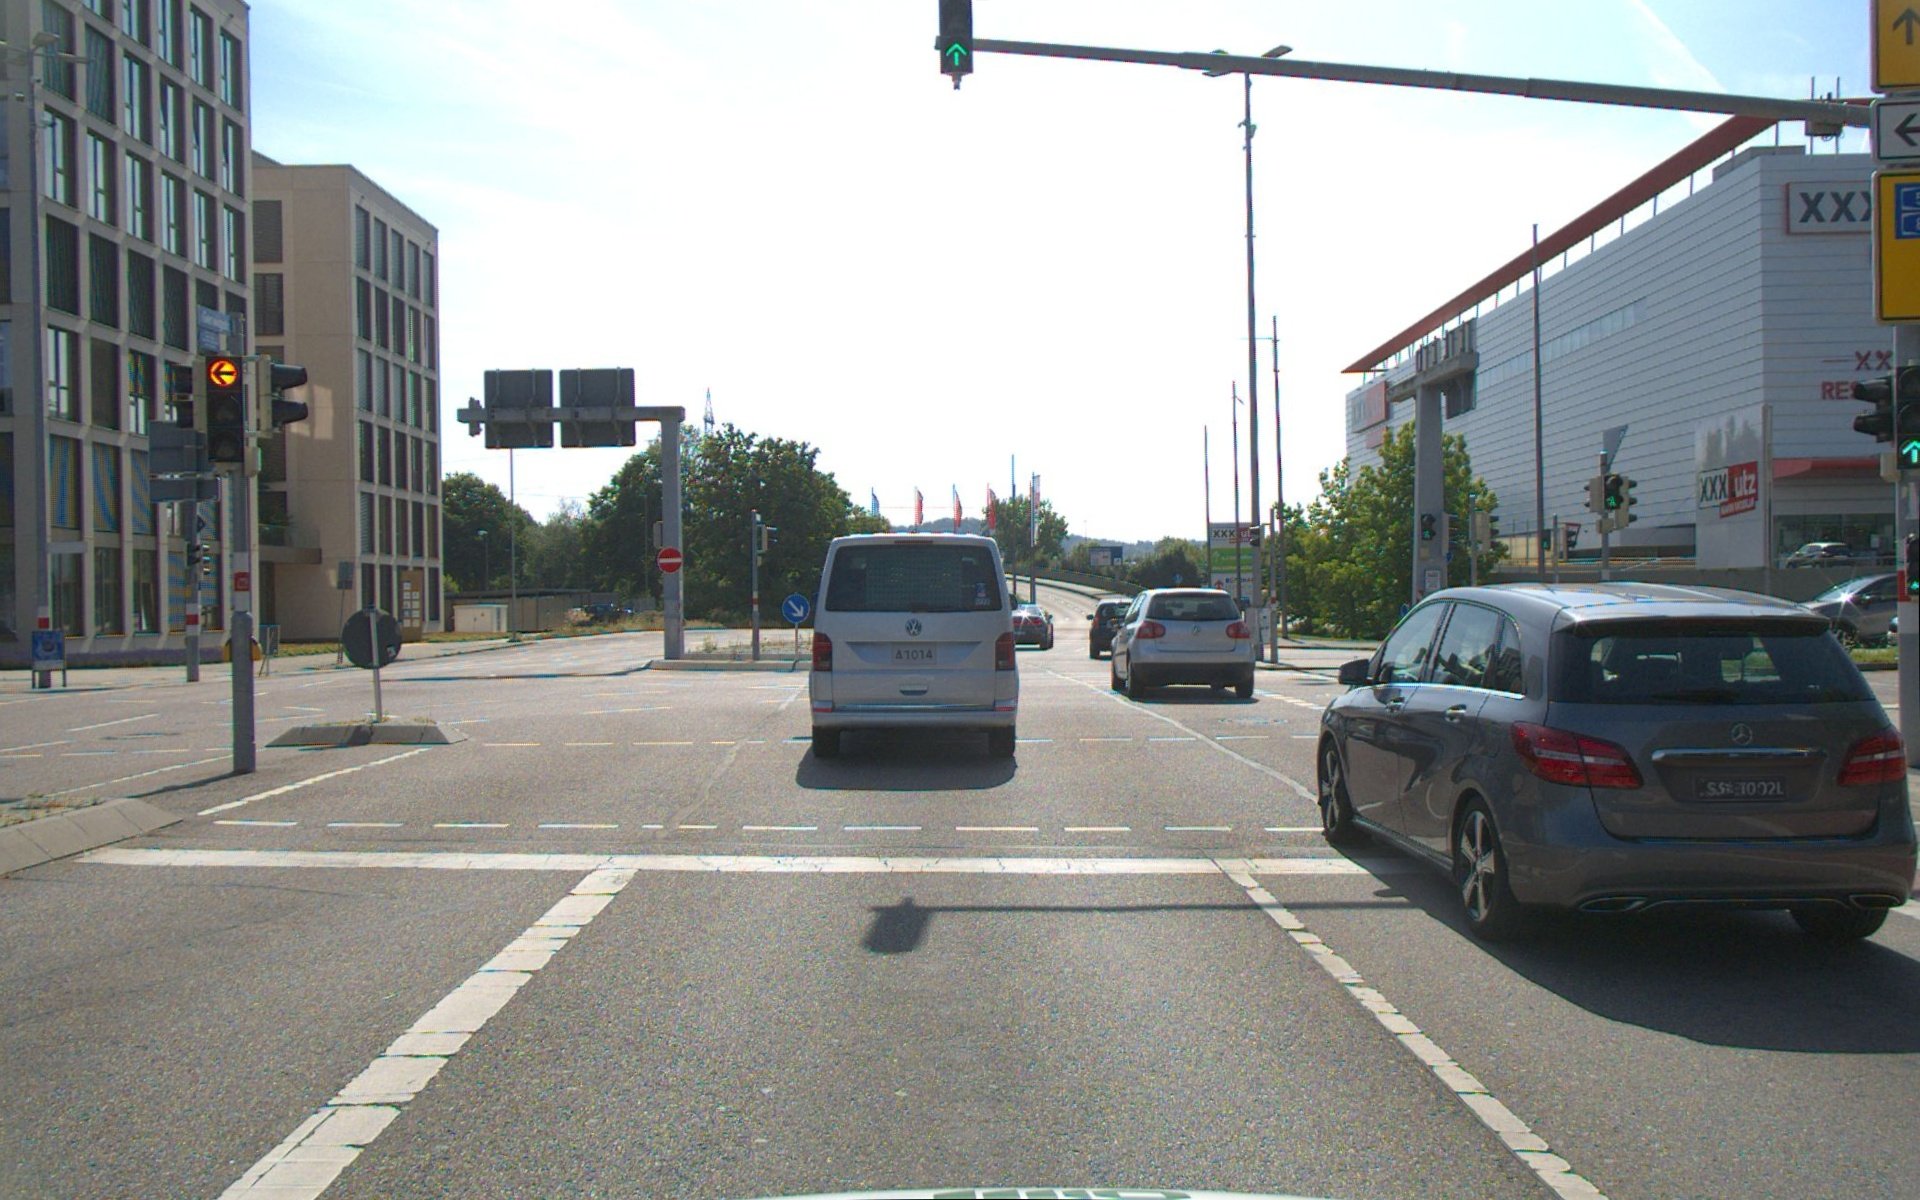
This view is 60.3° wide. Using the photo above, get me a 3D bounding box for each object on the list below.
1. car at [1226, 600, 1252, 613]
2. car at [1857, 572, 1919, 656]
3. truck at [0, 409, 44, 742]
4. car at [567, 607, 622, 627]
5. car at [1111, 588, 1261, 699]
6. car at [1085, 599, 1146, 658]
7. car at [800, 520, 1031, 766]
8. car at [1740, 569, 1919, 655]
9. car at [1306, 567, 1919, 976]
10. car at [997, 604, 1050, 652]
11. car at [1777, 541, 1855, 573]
[{"bbox_3d":[34.488,0.829,204.640,1.957,1.445,3.991,2,-1,-9],"label":"car"},{"bbox_3d":[18.779,0.200,29.330,4.618,1.450,1.959,-1,-1,2],"label":"car"},{"bbox_3d":[-11.857,-0.252,15.706,2.693,3.744,7.569,-1,0,-6],"label":"truck"},{"bbox_3d":[-28.407,1.312,128.634,4.038,1.445,1.718,-1,-2,-20],"label":"car"},{"bbox_3d":[3.137,0.573,23.543,1.632,1.439,3.682,-1,0,0],"label":"car"},{"bbox_3d":[4.169,0.723,43.967,1.498,1.506,3.598,0,0,7],"label":"car"},{"bbox_3d":[-0.397,0.352,15.773,1.878,2.010,4.296,1,0,-1],"label":"car"},{"bbox_3d":[17.608,0.218,32.371,3.803,1.586,1.809,-1,0,3],"label":"car"},{"bbox_3d":[3.096,0.635,8.421,1.738,1.566,4.137,0,1,-1],"label":"car"},{"bbox_3d":[2.124,0.906,55.094,1.498,1.506,3.249,0,0,7],"label":"car"},{"bbox_3d":[42.123,-2.095,81.479,1.734,1.444,4.201,-1,0,2],"label":"car"}]
